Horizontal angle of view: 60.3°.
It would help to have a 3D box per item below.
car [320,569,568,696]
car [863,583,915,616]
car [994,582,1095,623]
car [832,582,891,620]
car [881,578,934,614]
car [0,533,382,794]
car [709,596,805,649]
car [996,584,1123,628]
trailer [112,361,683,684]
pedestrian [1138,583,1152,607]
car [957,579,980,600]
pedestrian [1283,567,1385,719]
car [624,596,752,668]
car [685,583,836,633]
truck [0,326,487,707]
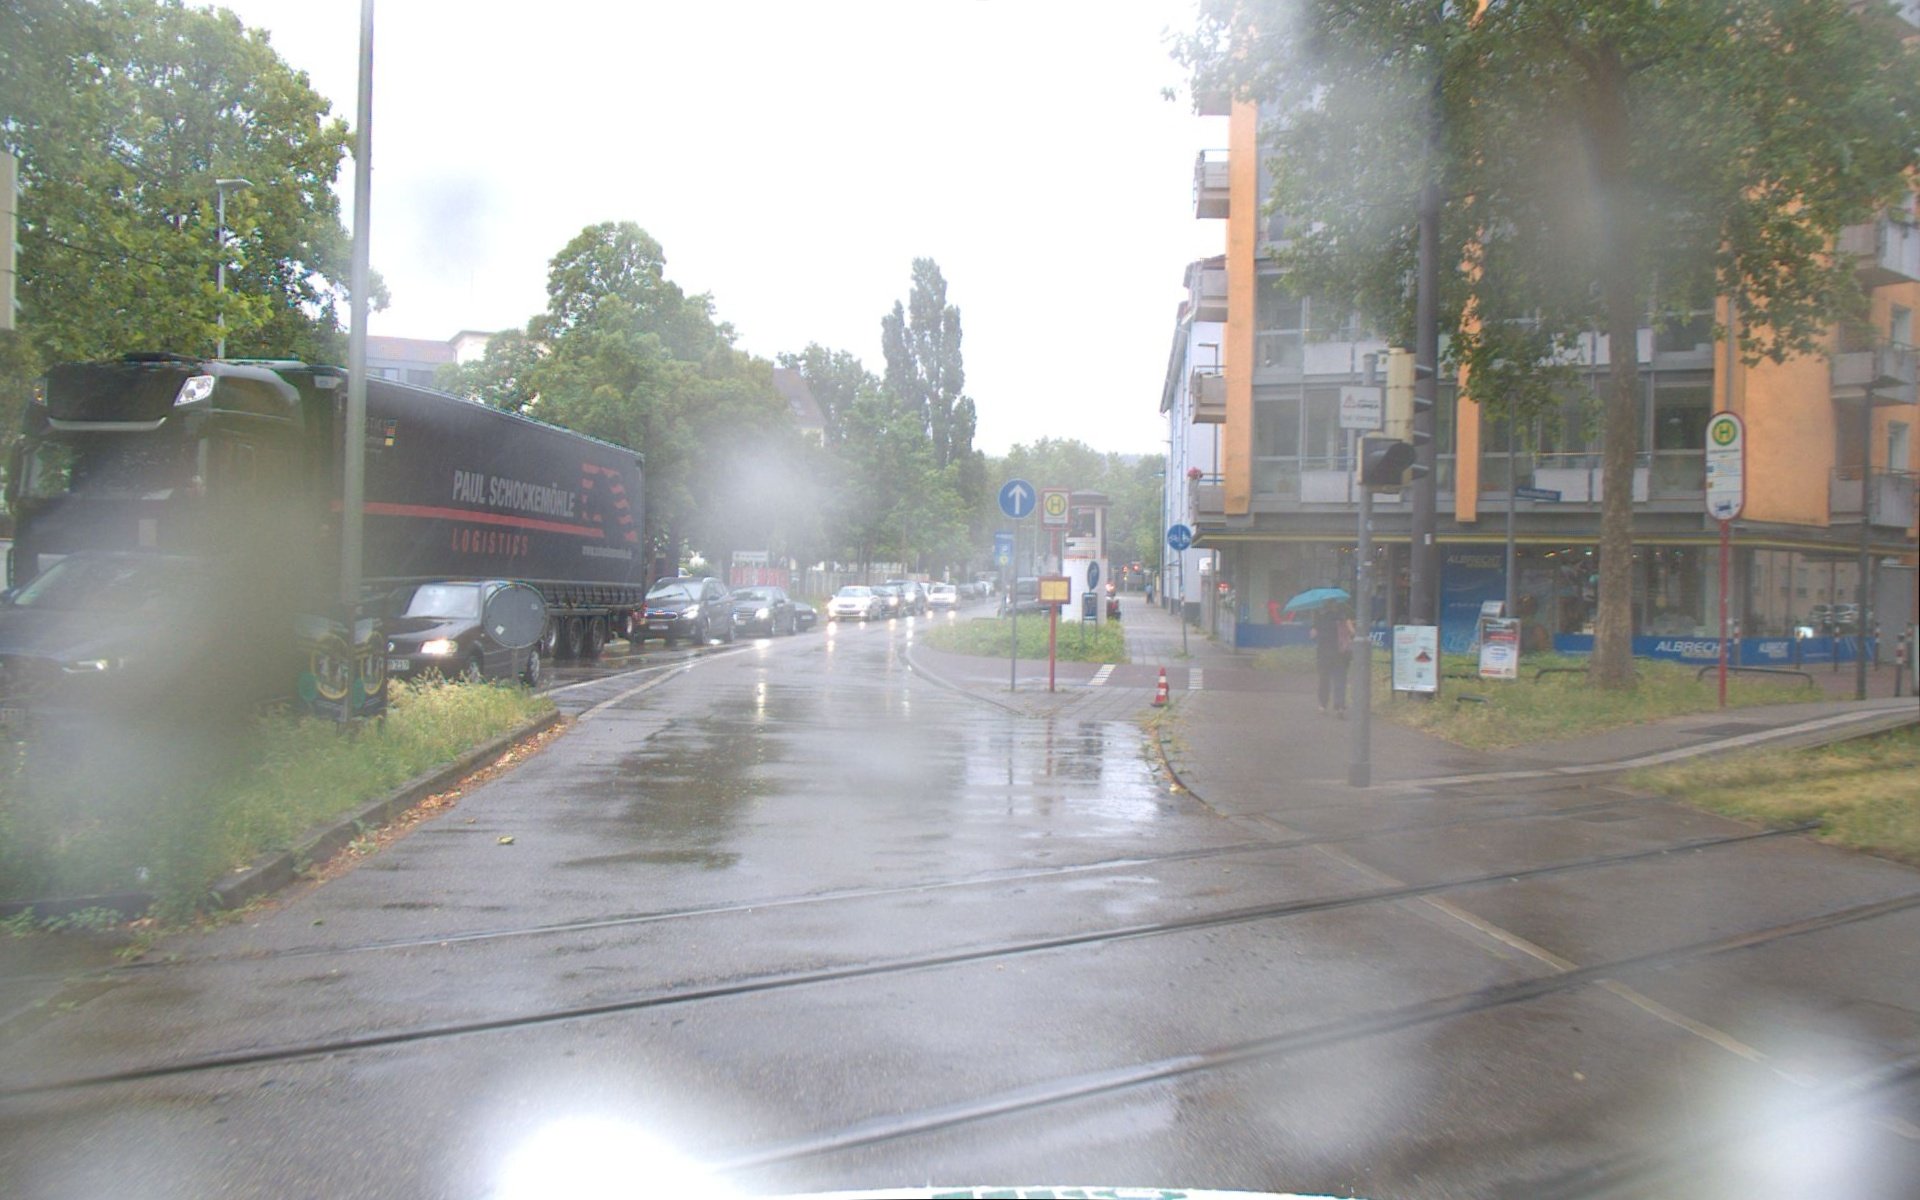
[{"bbox_3d":[-6.319,0.329,20.737,1.663,1.397,4.101,1,1,2],"label":"car"},{"bbox_3d":[-3.196,-0.045,74.981,1.741,1.445,4.268,1,1,6],"label":"car"},{"bbox_3d":[3.500,0.087,68.374,4.101,1.595,1.890,1,0,4],"label":"car"},{"bbox_3d":[-3.977,0.037,67.731,1.737,1.428,4.833,2,0,4],"label":"car"},{"bbox_3d":[-2.565,-0.194,81.800,1.873,1.668,4.825,2,0,7],"label":"car"},{"bbox_3d":[-6.833,0.353,14.067,2.032,1.711,4.930,3,2,0],"label":"car"},{"bbox_3d":[-5.735,0.617,47.282,1.690,1.385,4.341,0,1,7],"label":"car"},{"bbox_3d":[3.599,0.202,59.323,4.437,1.496,1.985,1,0,6],"label":"car"},{"bbox_3d":[-8.527,-1.115,28.760,3.369,4.119,15.062,1,1,6],"label":"trailer"},{"bbox_3d":[14.846,-0.400,132.706,1.040,1.842,1.095,1,0,7],"label":"pedestrian"},{"bbox_3d":[0.706,-0.868,139.263,1.739,1.556,4.000,2,2,-1],"label":"car"},{"bbox_3d":[4.888,0.536,21.699,1.145,1.897,1.386,1,0,7],"label":"pedestrian"},{"bbox_3d":[-6.624,0.794,40.866,1.827,1.648,4.805,1,-1,7],"label":"car"},{"bbox_3d":[-6.499,0.225,53.584,4.834,1.479,2.077,1,1,38],"label":"car"},{"bbox_3d":[-9.256,-1.001,21.793,3.377,4.149,6.979,2,1,6],"label":"truck"}]
